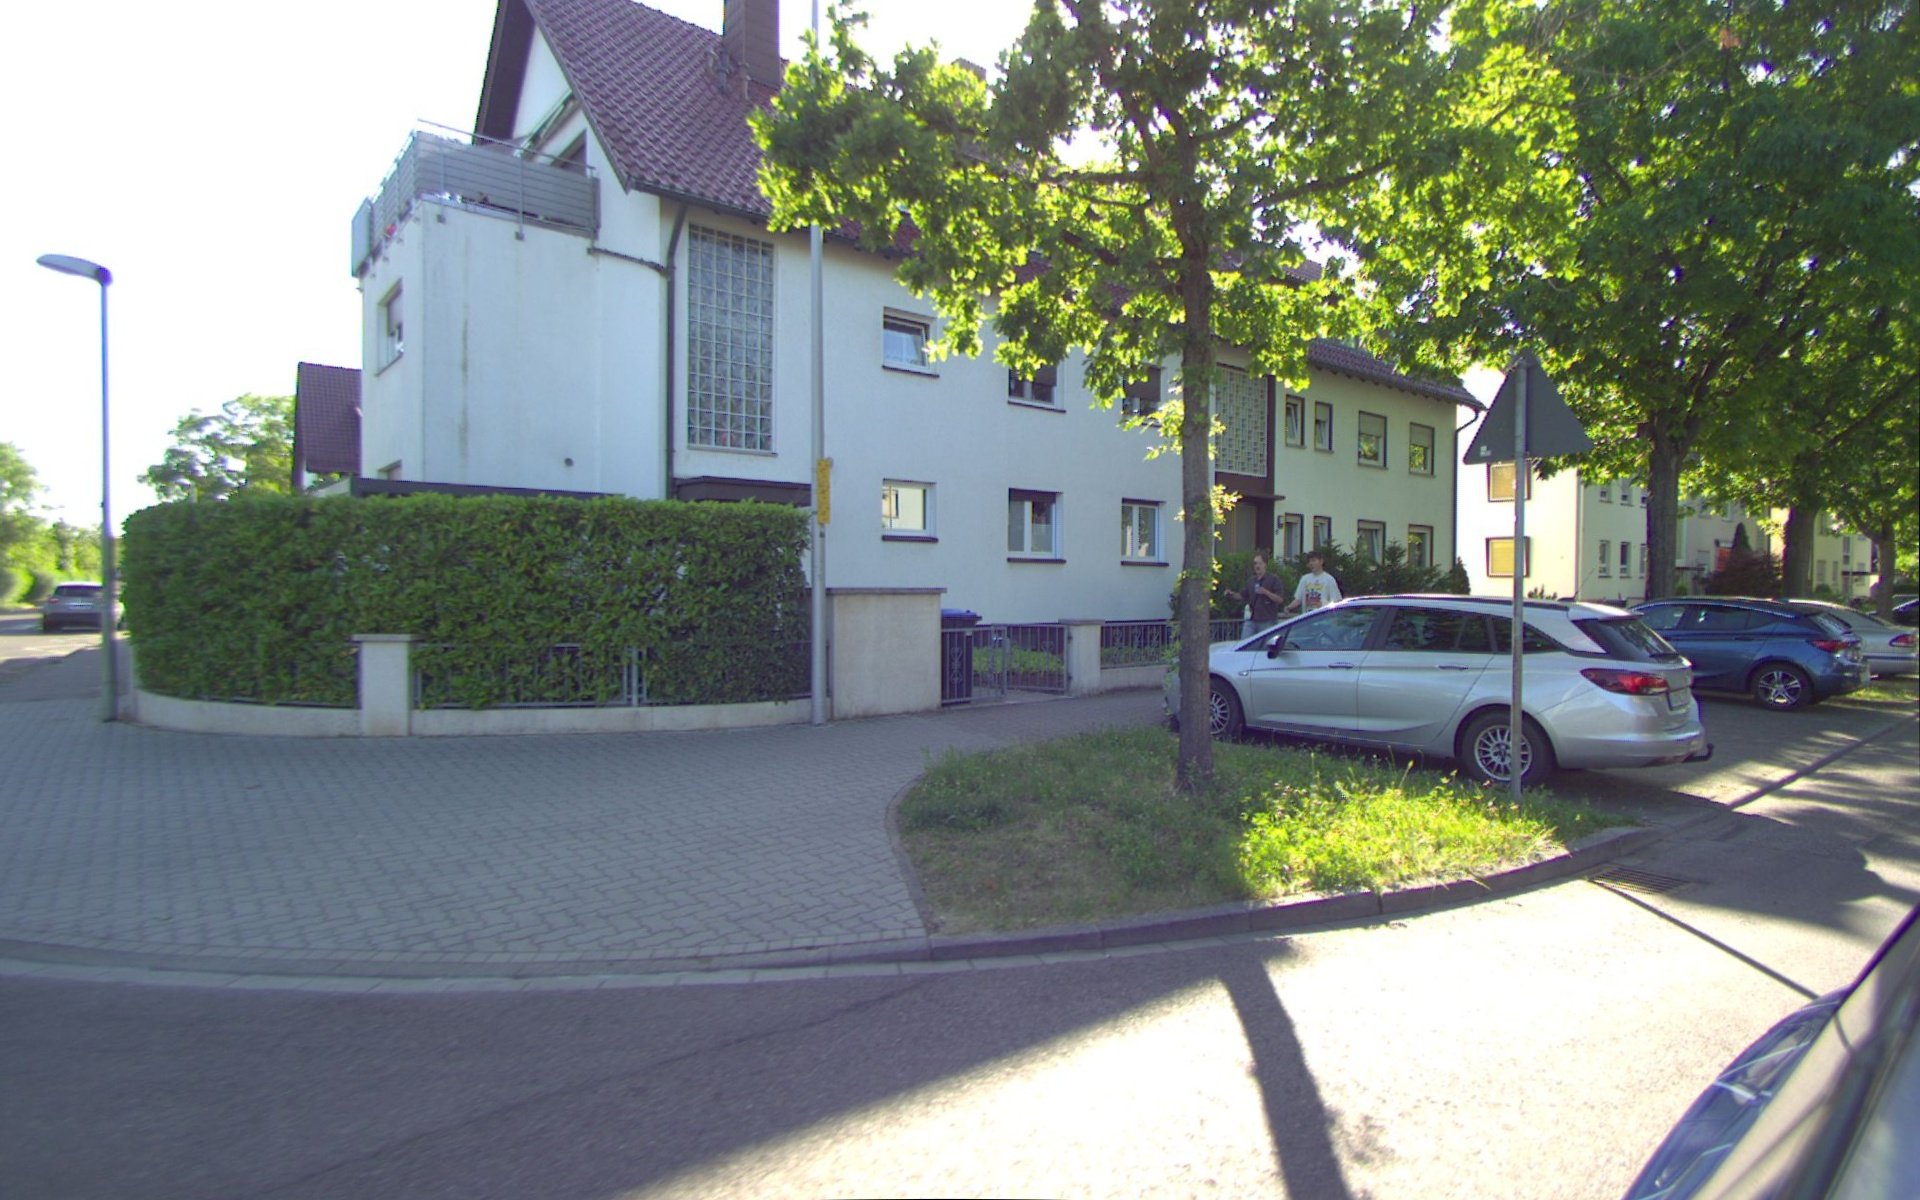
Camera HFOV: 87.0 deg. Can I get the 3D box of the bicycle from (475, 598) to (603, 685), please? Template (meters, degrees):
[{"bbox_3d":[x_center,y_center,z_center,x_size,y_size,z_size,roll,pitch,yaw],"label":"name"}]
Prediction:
[{"bbox_3d":[-5.603,0.533,13.465,1.652,1.067,0.529,1,1,20],"label":"bicycle"}]

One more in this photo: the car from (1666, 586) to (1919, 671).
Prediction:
[{"bbox_3d":[16.680,0.481,19.799,1.839,1.379,4.358,-1,3,-38],"label":"car"}]

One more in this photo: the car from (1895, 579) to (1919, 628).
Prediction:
[{"bbox_3d":[34.557,0.144,34.340,1.727,1.643,3.994,-2,2,-41],"label":"car"}]

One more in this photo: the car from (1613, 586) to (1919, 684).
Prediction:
[{"bbox_3d":[14.344,0.524,17.994,1.766,1.431,4.282,-1,2,-43],"label":"car"}]

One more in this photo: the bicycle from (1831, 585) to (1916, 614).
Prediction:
[{"bbox_3d":[42.675,-0.047,47.316,0.459,1.252,2.868,0,3,-36],"label":"bicycle"}]

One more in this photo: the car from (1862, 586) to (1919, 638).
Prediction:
[{"bbox_3d":[30.499,0.386,31.100,1.630,1.534,3.894,-2,2,-37],"label":"car"}]

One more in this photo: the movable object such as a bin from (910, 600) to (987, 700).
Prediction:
[{"bbox_3d":[-0.129,0.544,11.428,0.687,1.058,0.535,0,1,-40],"label":"movable object such as a bin"}]

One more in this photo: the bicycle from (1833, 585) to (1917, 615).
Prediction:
[{"bbox_3d":[43.035,-0.038,47.649,0.459,1.252,2.868,-1,4,-36],"label":"bicycle"}]

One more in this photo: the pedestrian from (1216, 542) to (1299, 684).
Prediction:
[{"bbox_3d":[4.024,0.150,13.719,0.698,1.850,0.837,-1,2,-38],"label":"pedestrian"}]

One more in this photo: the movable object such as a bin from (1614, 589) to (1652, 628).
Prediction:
[{"bbox_3d":[19.983,0.239,30.065,0.890,1.125,0.704,-2,2,-39],"label":"movable object such as a bin"}]

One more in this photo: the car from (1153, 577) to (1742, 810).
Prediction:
[{"bbox_3d":[4.066,0.587,9.100,1.765,1.510,4.436,0,2,-41],"label":"car"}]

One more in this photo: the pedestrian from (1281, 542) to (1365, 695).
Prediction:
[{"bbox_3d":[4.678,0.209,13.045,0.907,1.896,0.610,-1,2,-37],"label":"pedestrian"}]

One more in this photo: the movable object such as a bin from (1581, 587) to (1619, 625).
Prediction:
[{"bbox_3d":[19.397,0.167,30.675,0.890,1.112,0.704,-2,2,-39],"label":"movable object such as a bin"}]

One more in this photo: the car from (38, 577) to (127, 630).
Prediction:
[{"bbox_3d":[-27.883,0.052,32.271,1.672,1.549,4.001,-1,2,-35],"label":"car"}]

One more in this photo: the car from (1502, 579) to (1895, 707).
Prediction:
[{"bbox_3d":[10.520,0.485,14.728,1.764,1.522,4.289,0,2,-37],"label":"car"}]
